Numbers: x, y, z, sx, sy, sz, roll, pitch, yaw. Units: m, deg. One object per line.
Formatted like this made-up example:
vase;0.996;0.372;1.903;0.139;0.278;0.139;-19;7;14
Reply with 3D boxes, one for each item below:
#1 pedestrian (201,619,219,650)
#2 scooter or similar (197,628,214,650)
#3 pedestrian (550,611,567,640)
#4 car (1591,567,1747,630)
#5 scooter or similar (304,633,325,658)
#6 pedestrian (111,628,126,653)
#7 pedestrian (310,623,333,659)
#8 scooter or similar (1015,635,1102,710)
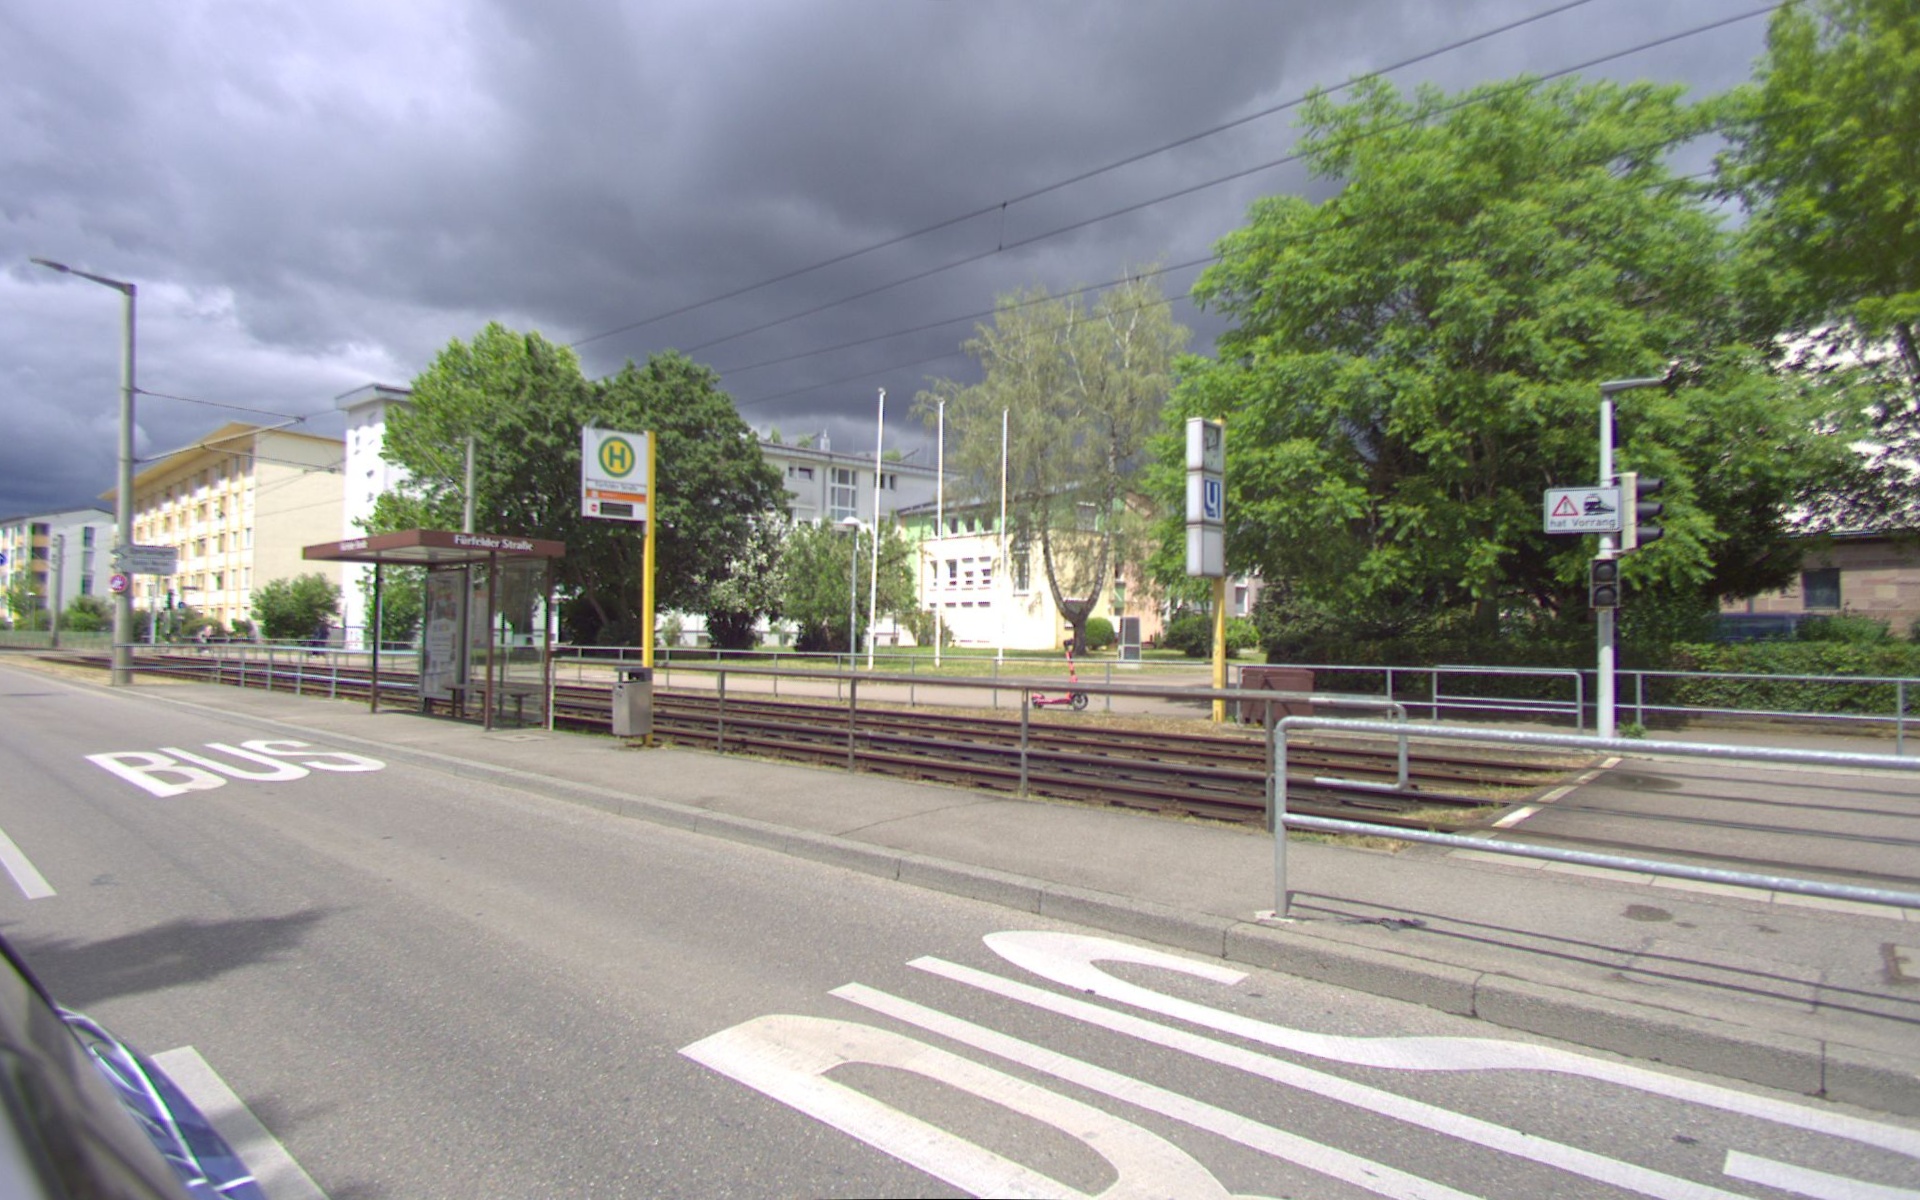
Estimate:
pedestrian;-41.415;1.917;55.877;0.679;1.705;0.638;-1;-2;41
scooter or similar;-42.031;2.169;56.379;0.891;1.172;0.602;-1;-2;41
pedestrian;-21.866;1.372;55.084;0.675;1.553;0.515;0;4;-43
car;24.597;0.019;35.219;1.967;2.029;4.009;2;-2;-36
scooter or similar;-29.275;2.052;45.892;0.820;1.123;0.598;-1;-2;39
pedestrian;-54.115;2.607;65.056;0.773;1.619;0.598;-1;-1;40
pedestrian;-28.616;1.830;45.355;0.873;1.552;0.606;-1;-2;39
scooter or similar;1.722;1.259;17.792;1.400;1.246;0.642;-2;-2;42
